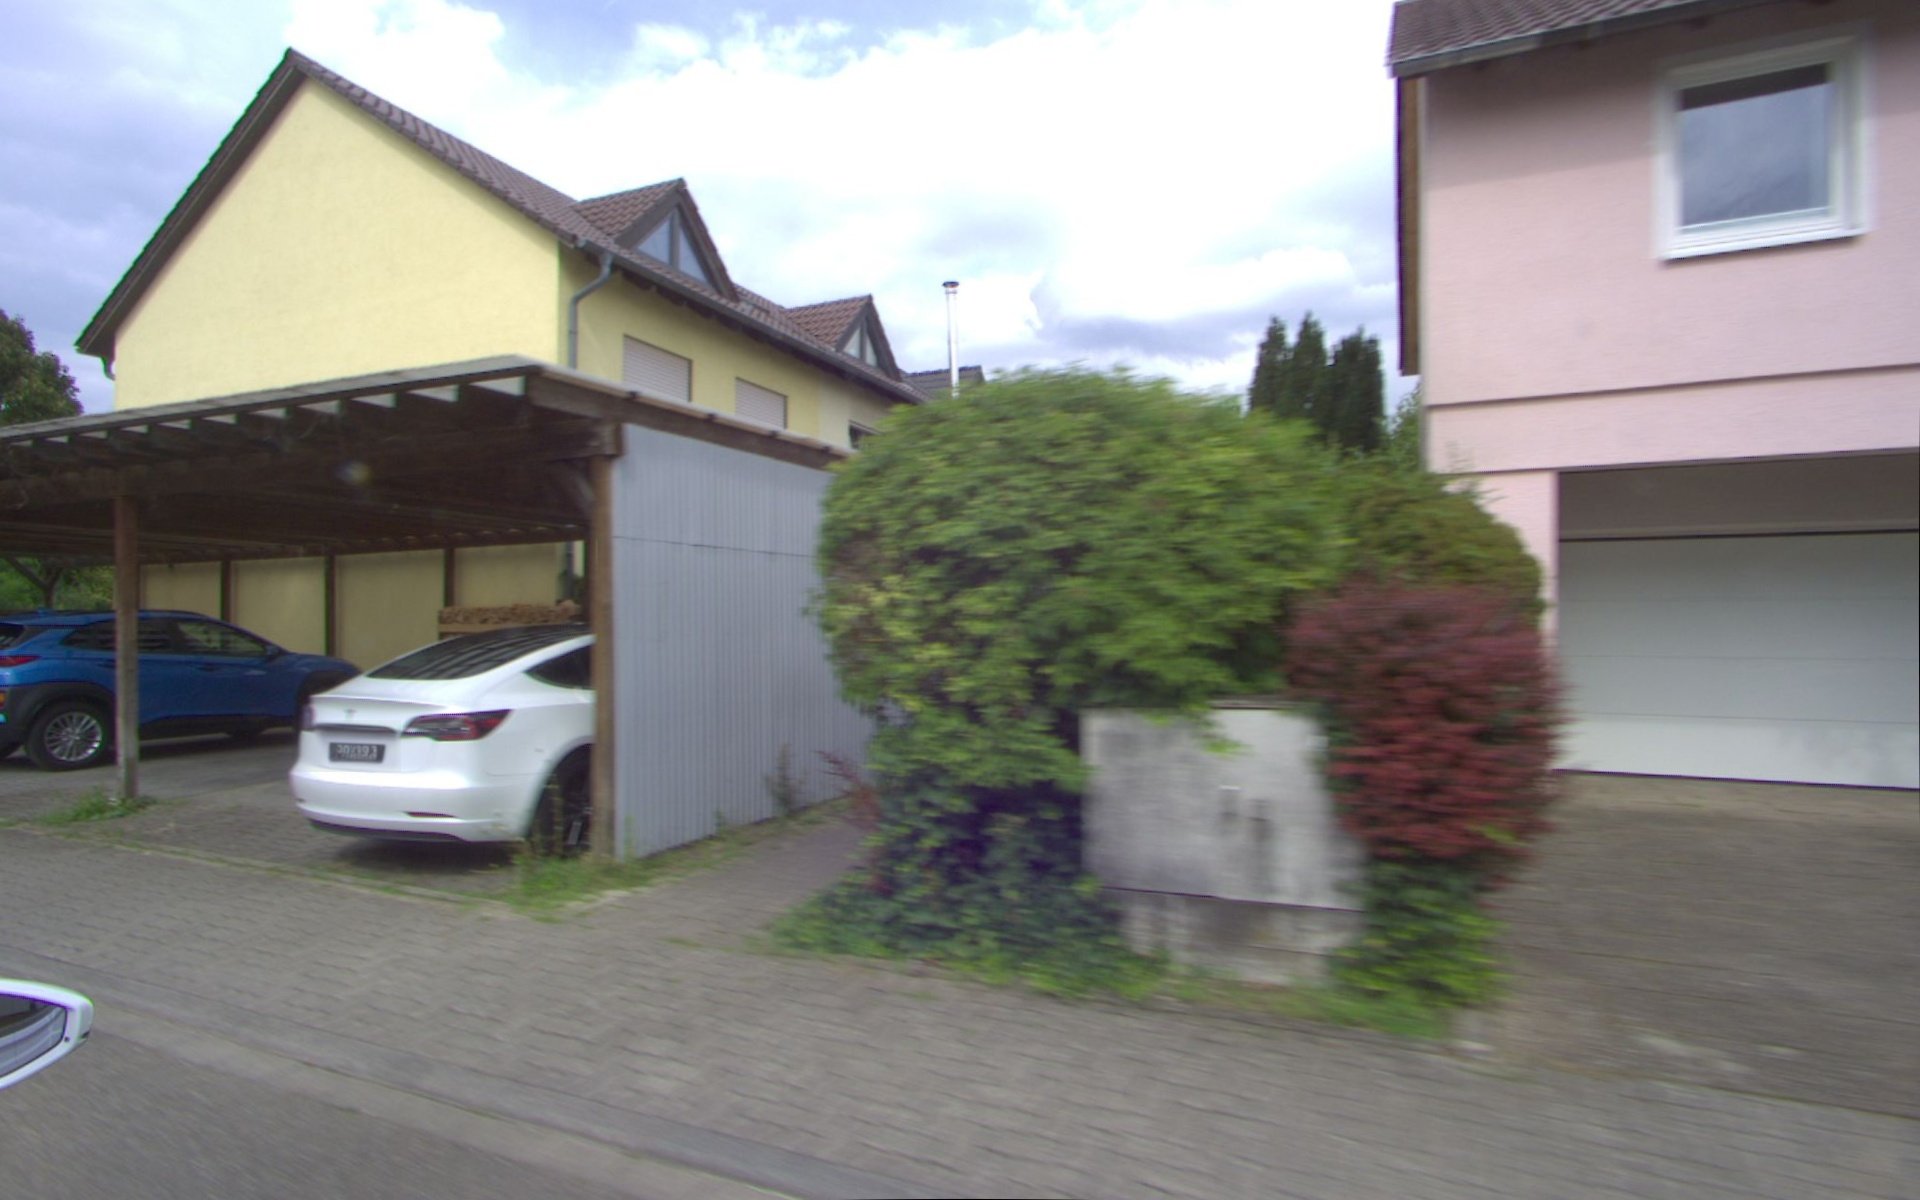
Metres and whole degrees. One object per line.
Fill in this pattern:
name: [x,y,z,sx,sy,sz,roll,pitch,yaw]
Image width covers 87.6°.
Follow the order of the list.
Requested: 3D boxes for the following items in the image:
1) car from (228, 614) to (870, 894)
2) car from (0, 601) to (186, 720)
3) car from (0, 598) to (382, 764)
car: [-2.615,0.855,7.664,1.993,1.451,4.453,0,-1,23]
car: [-13.326,0.805,13.708,1.808,1.560,3.961,0,-1,22]
car: [-9.074,0.794,11.368,1.917,1.542,4.050,0,-1,22]
